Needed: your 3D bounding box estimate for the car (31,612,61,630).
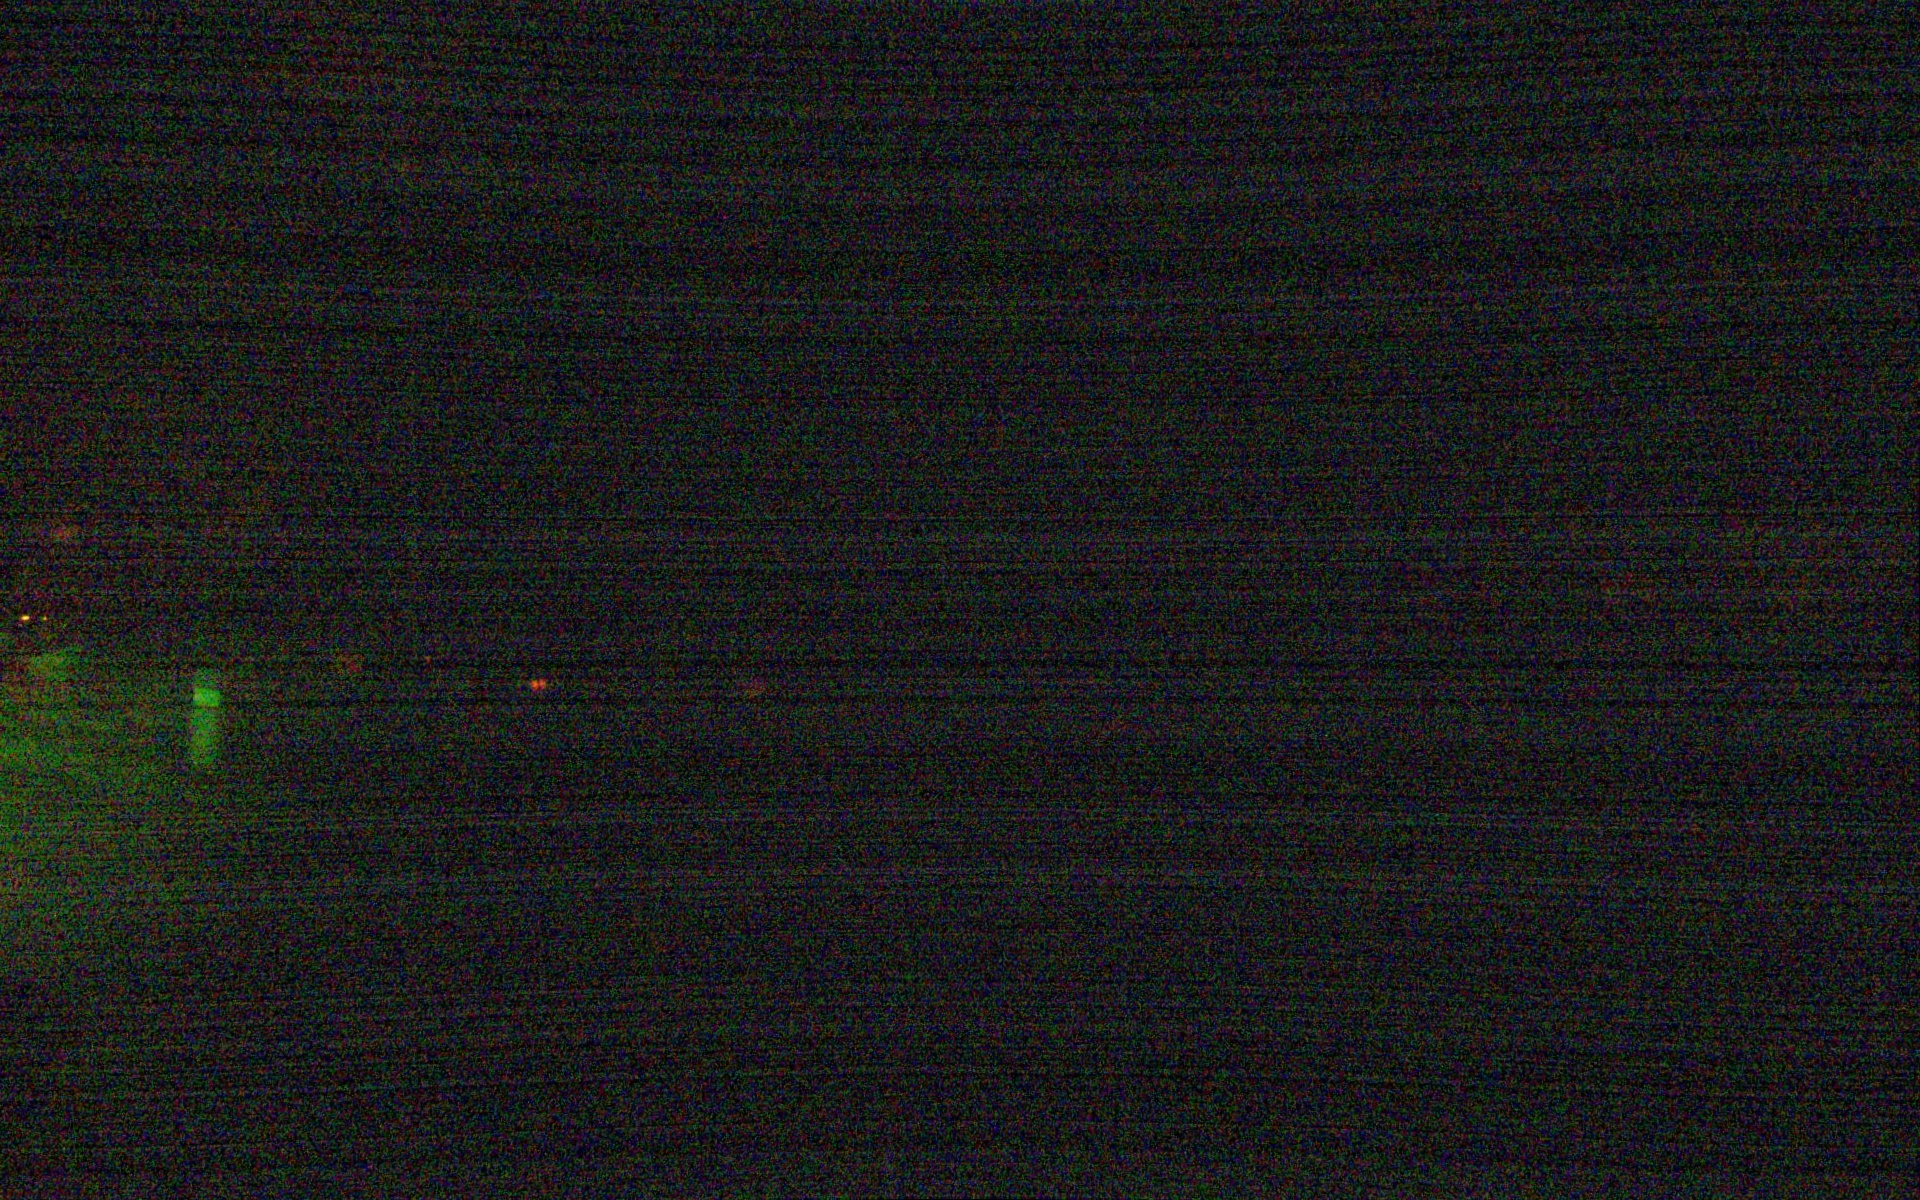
[{"bbox_3d":[-85.934,1.941,94.164,1.719,1.638,3.769,3,-2,-38],"label":"car"}]
